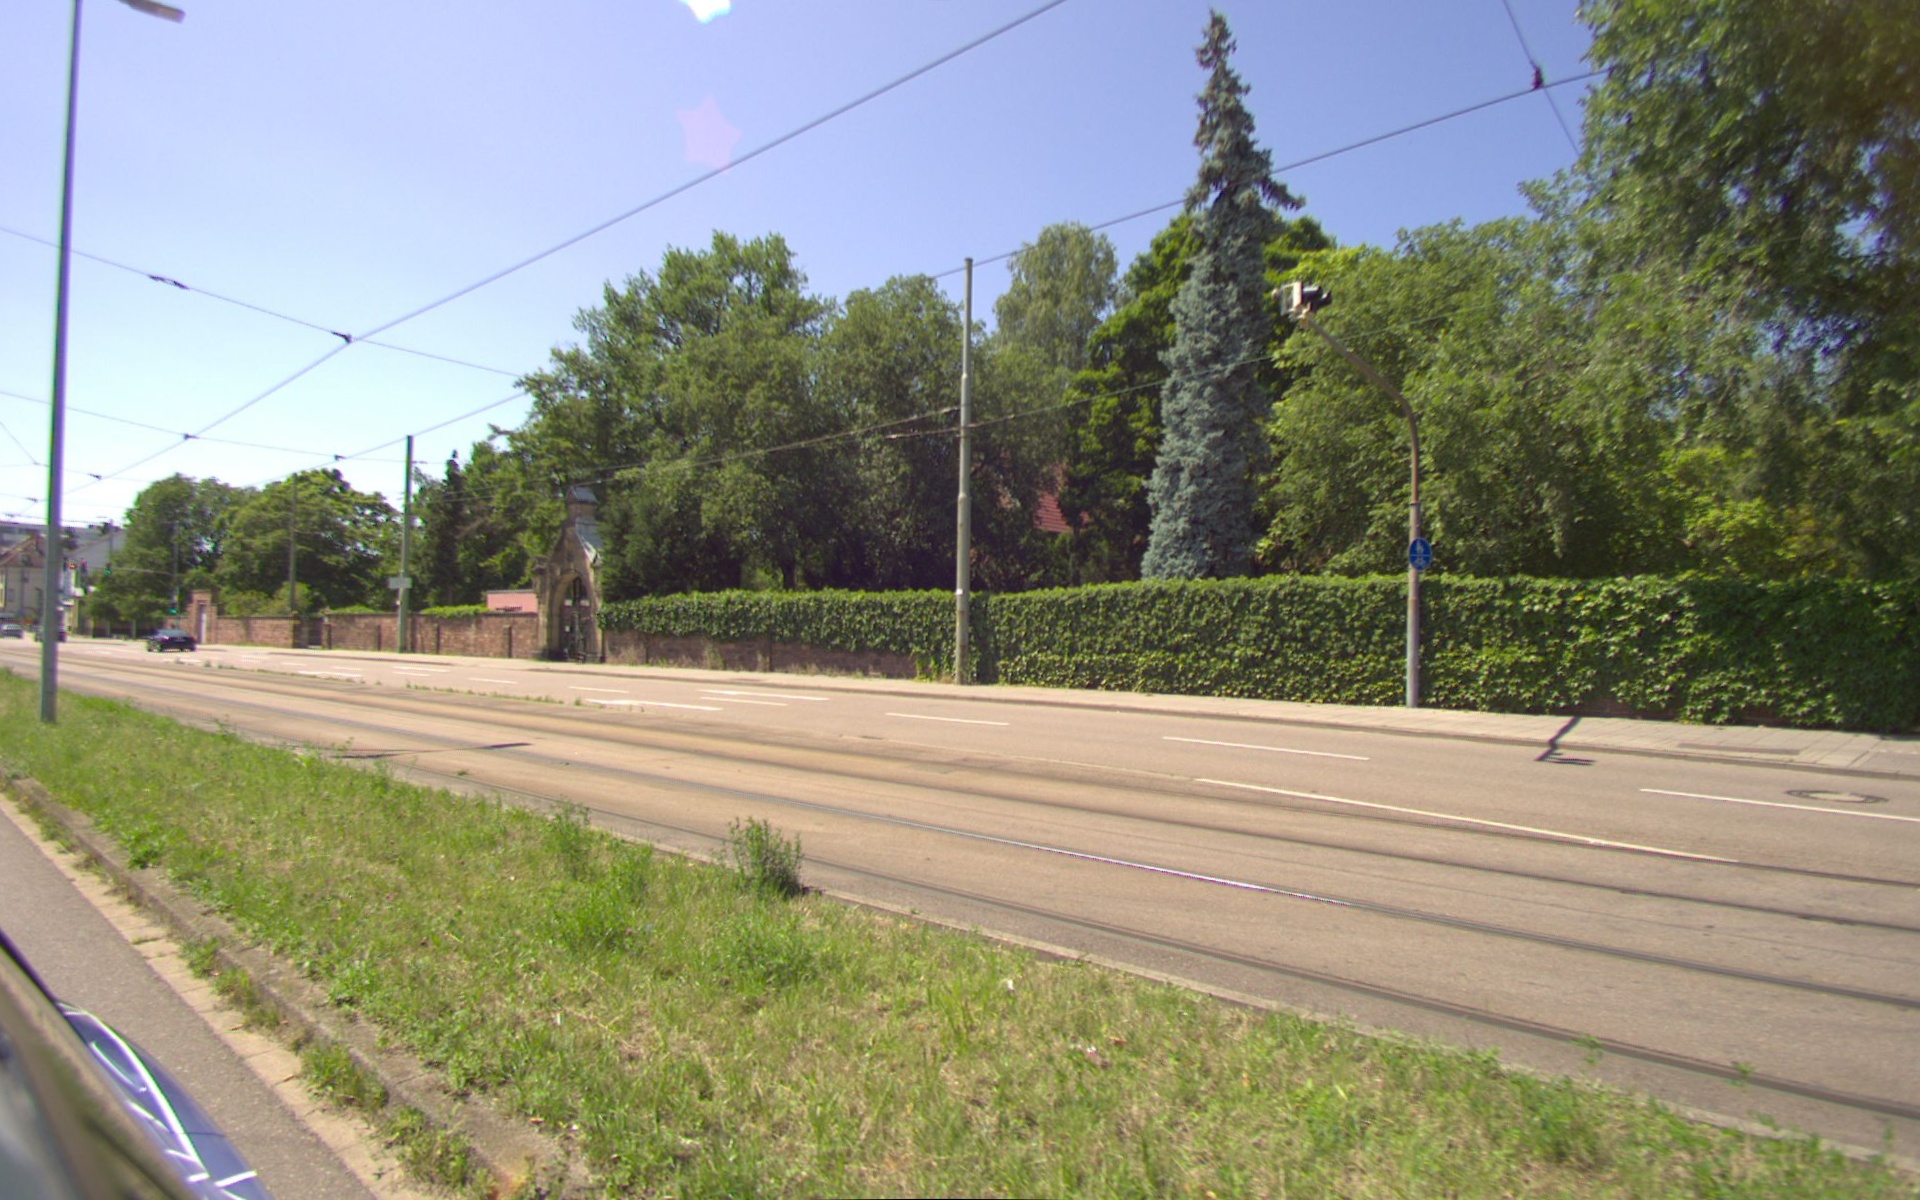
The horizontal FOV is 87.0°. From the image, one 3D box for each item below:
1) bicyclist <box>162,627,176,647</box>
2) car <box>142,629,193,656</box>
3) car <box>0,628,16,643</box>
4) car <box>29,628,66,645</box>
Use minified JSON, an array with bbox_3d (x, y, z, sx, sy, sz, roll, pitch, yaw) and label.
[{"bbox_3d":[-59.361,2.775,75.937,0.661,1.508,0.646,-1,-2,39],"label":"bicyclist"},{"bbox_3d":[-47.217,2.506,60.301,4.122,1.459,1.737,-1,-1,42],"label":"car"},{"bbox_3d":[-100.233,3.703,105.764,4.708,1.427,1.822,-1,0,41],"label":"car"},{"bbox_3d":[-79.751,3.182,88.398,5.031,1.427,1.822,-1,0,41],"label":"car"}]
